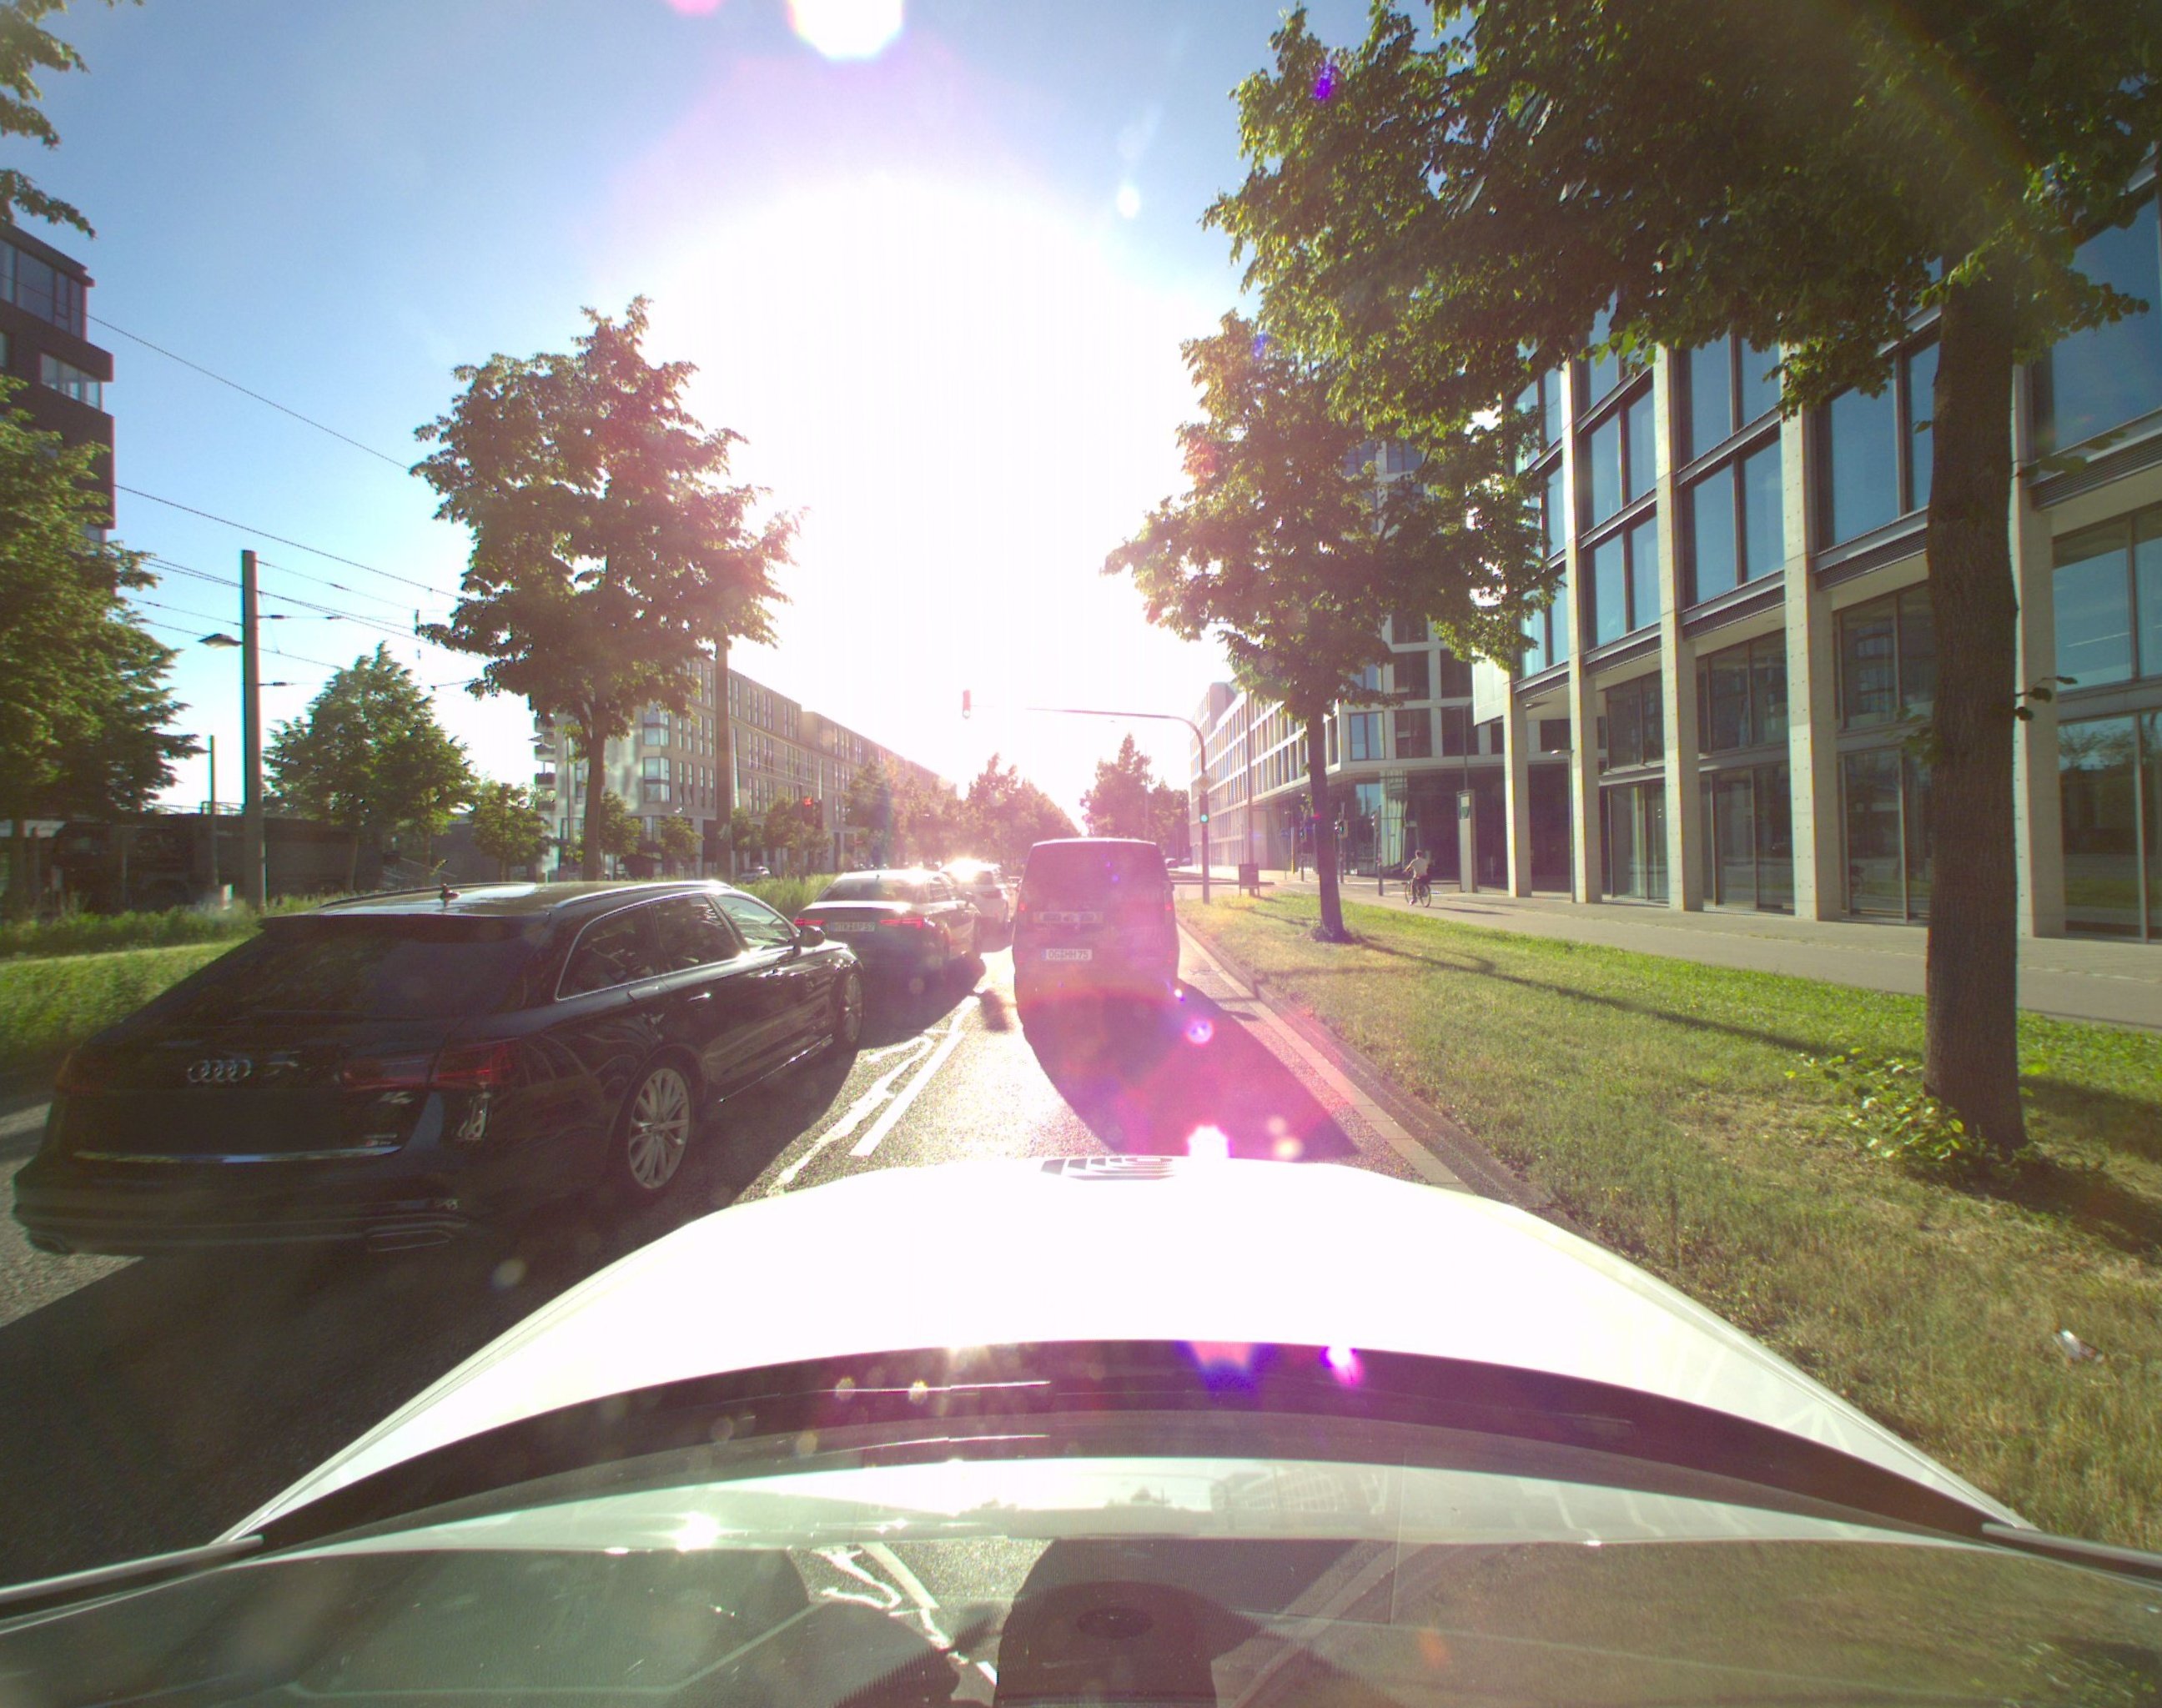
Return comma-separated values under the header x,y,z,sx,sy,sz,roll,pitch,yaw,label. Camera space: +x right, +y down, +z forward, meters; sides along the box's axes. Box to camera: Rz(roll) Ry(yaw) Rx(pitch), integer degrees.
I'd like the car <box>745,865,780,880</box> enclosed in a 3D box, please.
x,y,z,sx,sy,sz,roll,pitch,yaw,label
-30.912,1.811,79.097,1.574,1.342,4.473,-1,-1,1,car

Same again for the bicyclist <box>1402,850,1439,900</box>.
x,y,z,sx,sy,sz,roll,pitch,yaw,label
10.539,0.641,25.287,0.768,1.531,0.850,-2,0,1,bicyclist

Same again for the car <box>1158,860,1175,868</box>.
x,y,z,sx,sy,sz,roll,pitch,yaw,label
17.434,2.038,165.464,3.379,1.358,1.474,-1,-1,8,car

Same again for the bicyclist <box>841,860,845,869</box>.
x,y,z,sx,sy,sz,roll,pitch,yaw,label
-36.084,1.633,123.531,0.579,1.293,0.702,0,-1,-13,bicyclist

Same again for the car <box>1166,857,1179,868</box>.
x,y,z,sx,sy,sz,roll,pitch,yaw,label
14.285,1.362,127.511,1.750,1.611,3.906,-1,0,3,car

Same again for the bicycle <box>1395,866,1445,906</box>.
x,y,z,sx,sy,sz,roll,pitch,yaw,label
10.537,0.978,25.415,0.739,1.174,1.962,-3,-1,2,bicycle

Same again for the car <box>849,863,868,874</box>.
x,y,z,sx,sy,sz,roll,pitch,yaw,label
-30.465,1.960,111.523,1.574,1.342,3.713,-1,-1,1,car

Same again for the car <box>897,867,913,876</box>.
x,y,z,sx,sy,sz,roll,pitch,yaw,label
-29.637,2.919,137.381,1.769,1.528,3.807,-1,-1,1,car

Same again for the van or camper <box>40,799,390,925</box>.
x,y,z,sx,sy,sz,roll,pitch,yaw,label
-33.406,0.302,32.443,2.743,4.192,10.234,-1,-1,2,van or camper

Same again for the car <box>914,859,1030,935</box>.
x,y,z,sx,sy,sz,roll,pitch,yaw,label
-2.274,0.860,18.088,1.801,1.434,4.115,-1,0,3,car

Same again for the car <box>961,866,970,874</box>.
x,y,z,sx,sy,sz,roll,pitch,yaw,label
-28.329,3.933,199.669,1.723,2.013,3.999,-1,0,-1,car

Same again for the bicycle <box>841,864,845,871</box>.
x,y,z,sx,sy,sz,roll,pitch,yaw,label
-36.089,2.054,123.569,0.529,1.111,1.631,0,-1,-13,bicycle

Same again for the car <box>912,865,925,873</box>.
x,y,z,sx,sy,sz,roll,pitch,yaw,label
-29.880,2.737,149.991,1.574,1.342,3.713,-1,-1,1,car

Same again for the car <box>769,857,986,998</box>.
x,y,z,sx,sy,sz,roll,pitch,yaw,label
-2.494,0.820,11.081,1.801,1.527,4.114,-1,0,1,car

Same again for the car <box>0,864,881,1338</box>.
x,y,z,sx,sy,sz,roll,pitch,yaw,label
-2.729,0.830,4.888,1.801,1.457,4.509,-1,0,2,car

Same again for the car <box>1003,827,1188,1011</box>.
x,y,z,sx,sy,sz,roll,pitch,yaw,label
0.237,0.652,10.167,1.801,1.794,4.115,-1,0,3,car

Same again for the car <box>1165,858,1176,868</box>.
x,y,z,sx,sy,sz,roll,pitch,yaw,label
14.577,1.406,132.711,1.811,1.532,3.442,-1,-1,5,car

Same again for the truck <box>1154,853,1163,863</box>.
x,y,z,sx,sy,sz,roll,pitch,yaw,label
18.832,0.970,198.668,1.825,2.501,5.933,-1,-1,1,truck
